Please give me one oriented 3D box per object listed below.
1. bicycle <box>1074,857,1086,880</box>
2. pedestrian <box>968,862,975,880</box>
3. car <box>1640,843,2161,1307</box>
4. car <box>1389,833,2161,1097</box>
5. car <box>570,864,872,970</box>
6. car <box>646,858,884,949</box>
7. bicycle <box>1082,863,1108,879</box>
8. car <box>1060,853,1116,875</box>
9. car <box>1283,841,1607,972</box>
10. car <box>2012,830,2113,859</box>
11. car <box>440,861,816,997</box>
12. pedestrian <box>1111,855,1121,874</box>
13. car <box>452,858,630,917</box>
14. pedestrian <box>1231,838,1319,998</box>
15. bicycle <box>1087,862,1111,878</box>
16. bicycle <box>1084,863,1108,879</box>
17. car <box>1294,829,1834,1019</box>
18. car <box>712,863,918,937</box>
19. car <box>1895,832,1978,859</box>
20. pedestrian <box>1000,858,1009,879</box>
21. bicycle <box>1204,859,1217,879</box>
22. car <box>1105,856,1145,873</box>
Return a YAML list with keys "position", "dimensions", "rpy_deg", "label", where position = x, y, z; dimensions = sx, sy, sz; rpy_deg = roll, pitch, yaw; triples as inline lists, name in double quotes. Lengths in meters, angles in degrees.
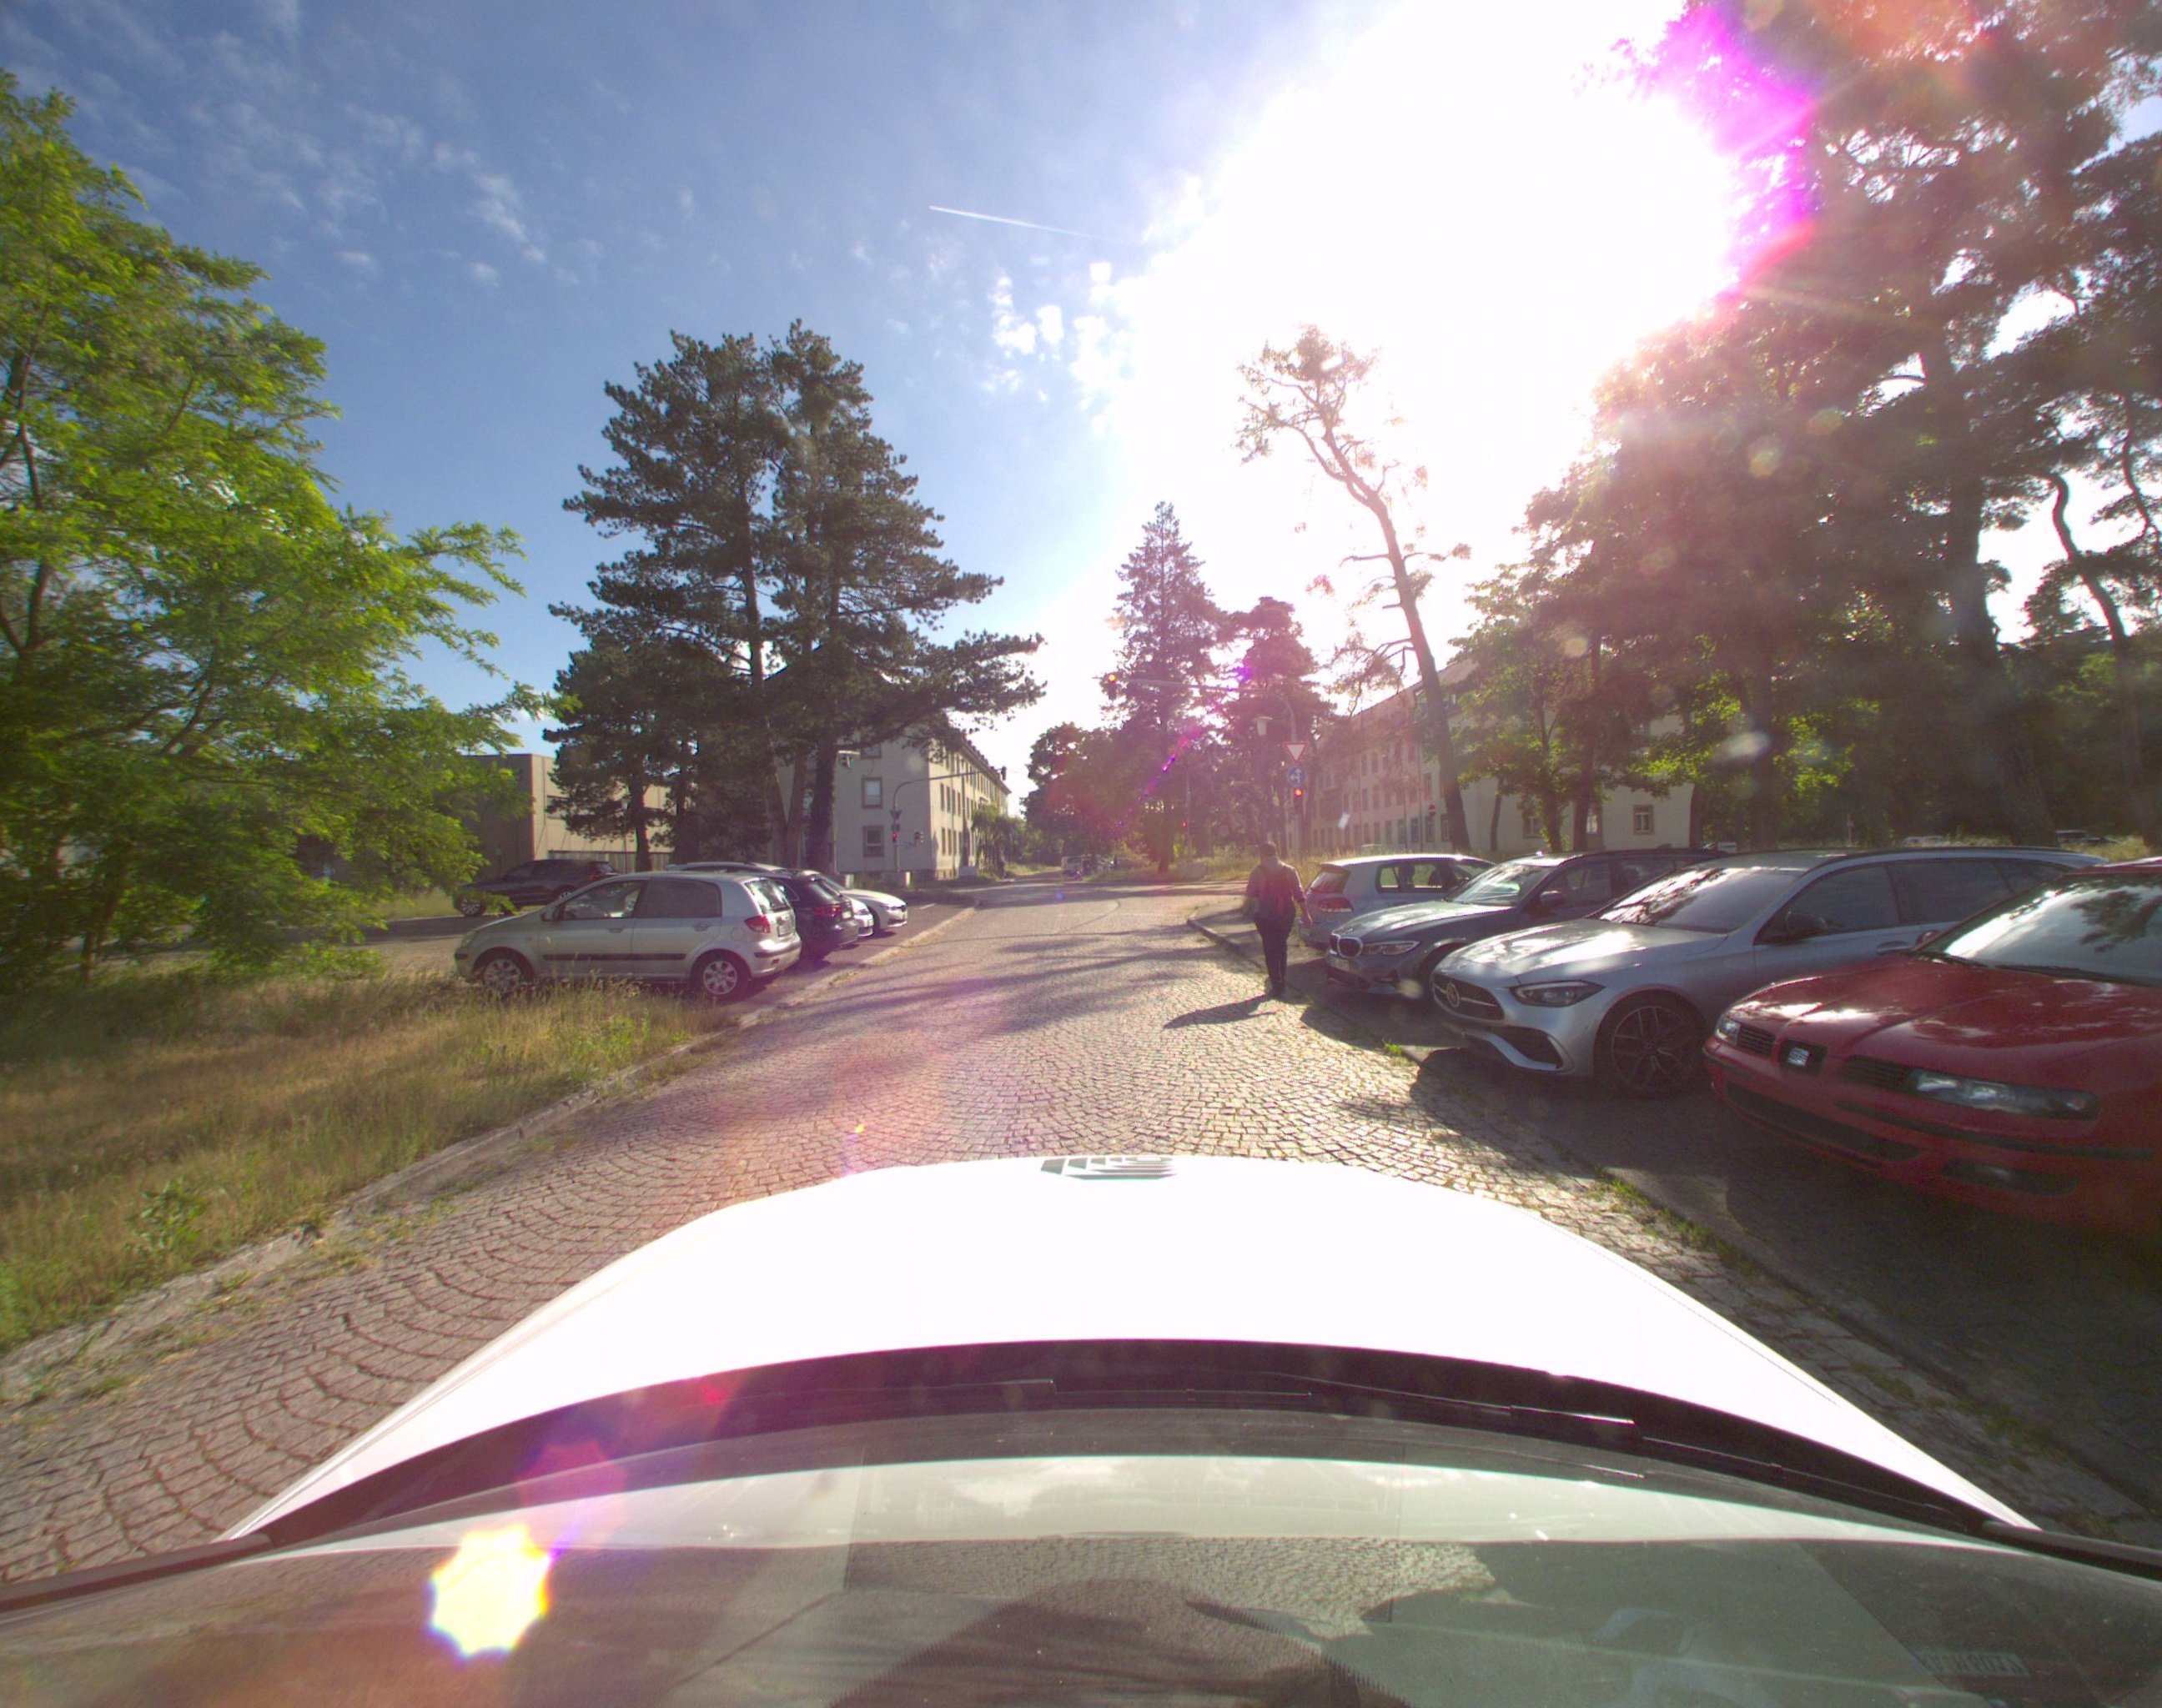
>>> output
- position: [-0.085, 0.982, 56.846]
  dimensions: [0.751, 1.580, 2.535]
  rpy_deg: [-1, 0, -1]
  label: "bicycle"
- position: [-9.948, 1.519, 73.778]
  dimensions: [0.606, 1.560, 0.544]
  rpy_deg: [-1, -1, -7]
  label: "pedestrian"
- position: [5.023, 0.699, 3.596]
  dimensions: [3.968, 1.448, 1.654]
  rpy_deg: [-2, 0, -2]
  label: "car"
- position: [4.795, 0.676, 5.941]
  dimensions: [4.387, 1.388, 1.787]
  rpy_deg: [-3, 0, -2]
  label: "car"
- position: [-5.501, 0.942, 12.824]
  dimensions: [3.927, 1.445, 1.689]
  rpy_deg: [2, 0, -2]
  label: "car"
- position: [-5.928, 0.904, 15.626]
  dimensions: [3.869, 1.615, 1.659]
  rpy_deg: [1, 0, -2]
  label: "car"
- position: [1.029, 1.236, 60.054]
  dimensions: [1.831, 1.112, 0.494]
  rpy_deg: [-2, -1, -5]
  label: "bicycle"
- position: [0.637, 0.973, 77.947]
  dimensions: [5.067, 1.918, 1.993]
  rpy_deg: [-2, 0, -10]
  label: "car"
- position: [4.837, 0.669, 11.190]
  dimensions: [3.662, 1.443, 1.665]
  rpy_deg: [-3, 0, -1]
  label: "car"
- position: [56.497, -0.529, 46.917]
  dimensions: [3.622, 1.498, 1.768]
  rpy_deg: [-2, -1, 1]
  label: "car"
- position: [-5.431, 0.876, 10.164]
  dimensions: [3.677, 1.527, 1.697]
  rpy_deg: [1, -1, -3]
  label: "car"
- position: [3.283, 0.968, 76.476]
  dimensions: [0.759, 1.783, 0.682]
  rpy_deg: [-2, -1, -8]
  label: "pedestrian"
- position: [-16.637, 1.011, 25.260]
  dimensions: [4.130, 1.608, 2.010]
  rpy_deg: [-2, 0, 0]
  label: "car"
- position: [2.207, 0.699, 9.343]
  dimensions: [0.751, 1.725, 0.828]
  rpy_deg: [2, -1, -1]
  label: "pedestrian"
- position: [1.323, 1.201, 61.286]
  dimensions: [1.724, 1.164, 0.560]
  rpy_deg: [-2, -1, -4]
  label: "bicycle"
- position: [1.093, 1.238, 60.600]
  dimensions: [1.724, 1.112, 0.483]
  rpy_deg: [-2, -1, -5]
  label: "bicycle"
- position: [4.839, 0.648, 8.610]
  dimensions: [4.609, 1.455, 1.868]
  rpy_deg: [-4, 0, -3]
  label: "car"
- position: [-5.854, 0.988, 18.229]
  dimensions: [3.969, 1.496, 1.774]
  rpy_deg: [1, 0, 4]
  label: "car"
- position: [57.189, -0.572, 54.457]
  dimensions: [3.622, 1.671, 1.768]
  rpy_deg: [-2, -1, 1]
  label: "car"
- position: [-6.474, 1.215, 68.638]
  dimensions: [0.609, 1.752, 0.626]
  rpy_deg: [-1, -1, -20]
  label: "pedestrian"
- position: [7.696, 0.888, 48.279]
  dimensions: [0.717, 1.115, 2.590]
  rpy_deg: [-2, 0, 9]
  label: "bicycle"
- position: [4.419, 1.064, 81.909]
  dimensions: [3.741, 1.580, 1.736]
  rpy_deg: [-1, 0, -8]
  label: "car"
